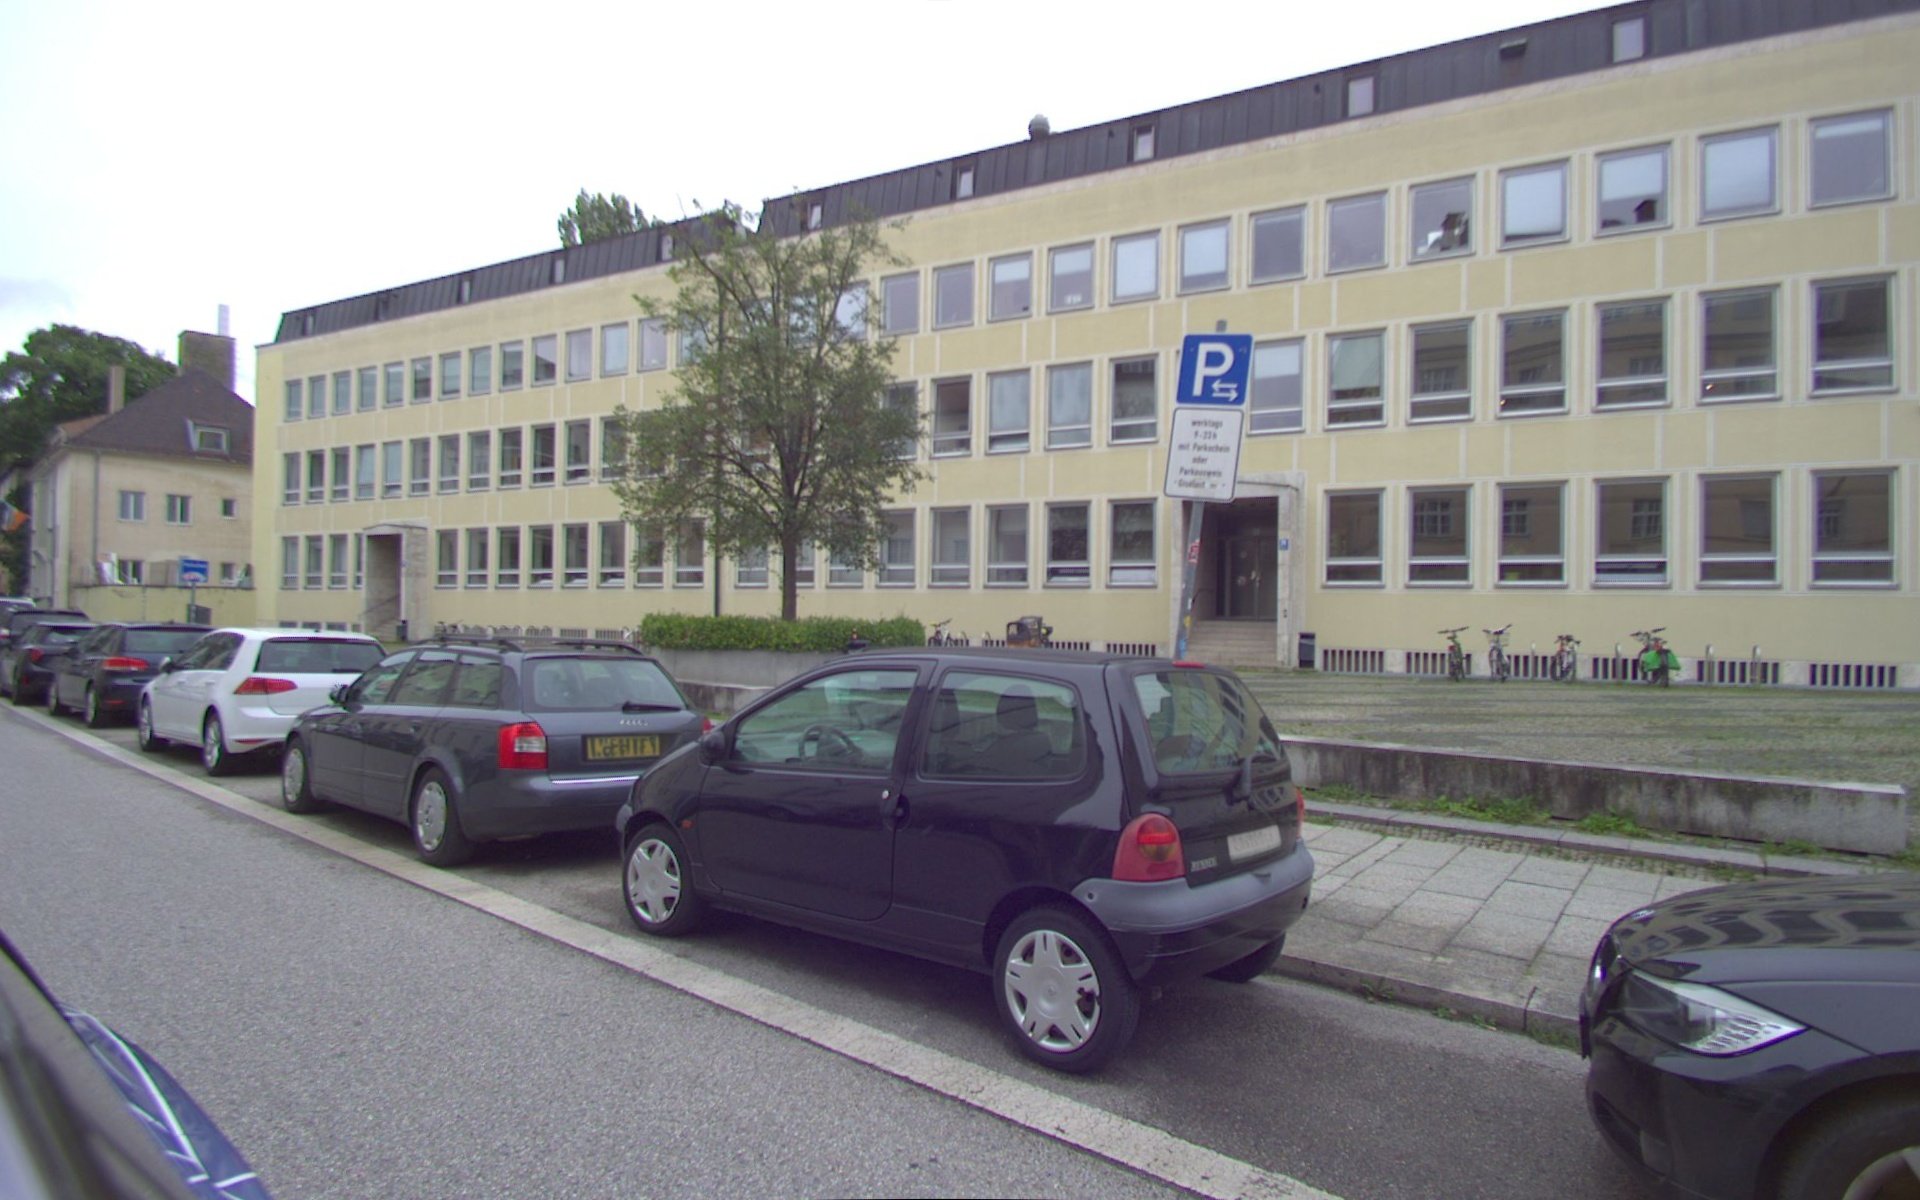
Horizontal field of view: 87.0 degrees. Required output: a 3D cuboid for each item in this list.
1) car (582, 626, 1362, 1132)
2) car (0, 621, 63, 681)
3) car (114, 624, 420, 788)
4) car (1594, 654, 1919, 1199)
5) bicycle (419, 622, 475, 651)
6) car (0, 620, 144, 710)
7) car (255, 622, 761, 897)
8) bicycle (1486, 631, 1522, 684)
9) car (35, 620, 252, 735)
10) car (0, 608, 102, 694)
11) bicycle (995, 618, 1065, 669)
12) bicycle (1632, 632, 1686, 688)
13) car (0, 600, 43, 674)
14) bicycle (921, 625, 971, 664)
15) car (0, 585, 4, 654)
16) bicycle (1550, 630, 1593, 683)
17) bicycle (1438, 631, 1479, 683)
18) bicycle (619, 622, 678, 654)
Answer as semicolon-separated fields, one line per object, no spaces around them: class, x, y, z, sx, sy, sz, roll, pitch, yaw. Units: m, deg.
car;-0.086;0.889;4.698;3.308;1.465;1.640;-1;-3;39
car;-24.053;1.238;25.518;3.917;1.398;1.725;-1;-1;42
car;-7.729;1.034;11.153;4.068;1.465;1.640;-1;-3;39
car;3.676;0.857;1.592;4.446;1.416;1.783;0;-3;36
bicycle;-19.203;1.341;37.946;0.577;1.022;1.937;0;0;24
car;-16.287;1.117;18.322;3.868;1.465;1.663;-1;-3;41
car;-3.582;0.938;7.605;4.393;1.465;1.737;-1;-3;41
bicycle;11.352;1.179;21.152;0.622;1.022;1.935;-1;-1;28
car;-12.142;1.069;14.975;3.970;1.465;1.640;-1;-3;39
car;-20.168;1.072;21.868;4.446;1.679;1.725;-1;-5;41
bicycle;1.856;1.106;26.518;1.050;1.258;2.422;0;-1;24
bicycle;13.770;1.151;19.965;0.622;1.022;1.935;-1;-1;28
car;-27.693;0.991;28.565;5.017;1.994;1.909;0;-3;39
bicycle;-0.367;1.203;27.902;0.622;1.022;1.937;0;-1;24
car;-37.196;0.767;37.428;5.654;2.666;2.271;-1;-3;44
bicycle;12.584;1.145;20.856;0.622;1.022;1.935;-1;-1;28
bicycle;10.567;1.187;21.421;0.623;1.022;1.932;-1;-1;31
bicycle;-10.339;1.251;33.645;0.623;1.022;1.932;-1;-1;31
